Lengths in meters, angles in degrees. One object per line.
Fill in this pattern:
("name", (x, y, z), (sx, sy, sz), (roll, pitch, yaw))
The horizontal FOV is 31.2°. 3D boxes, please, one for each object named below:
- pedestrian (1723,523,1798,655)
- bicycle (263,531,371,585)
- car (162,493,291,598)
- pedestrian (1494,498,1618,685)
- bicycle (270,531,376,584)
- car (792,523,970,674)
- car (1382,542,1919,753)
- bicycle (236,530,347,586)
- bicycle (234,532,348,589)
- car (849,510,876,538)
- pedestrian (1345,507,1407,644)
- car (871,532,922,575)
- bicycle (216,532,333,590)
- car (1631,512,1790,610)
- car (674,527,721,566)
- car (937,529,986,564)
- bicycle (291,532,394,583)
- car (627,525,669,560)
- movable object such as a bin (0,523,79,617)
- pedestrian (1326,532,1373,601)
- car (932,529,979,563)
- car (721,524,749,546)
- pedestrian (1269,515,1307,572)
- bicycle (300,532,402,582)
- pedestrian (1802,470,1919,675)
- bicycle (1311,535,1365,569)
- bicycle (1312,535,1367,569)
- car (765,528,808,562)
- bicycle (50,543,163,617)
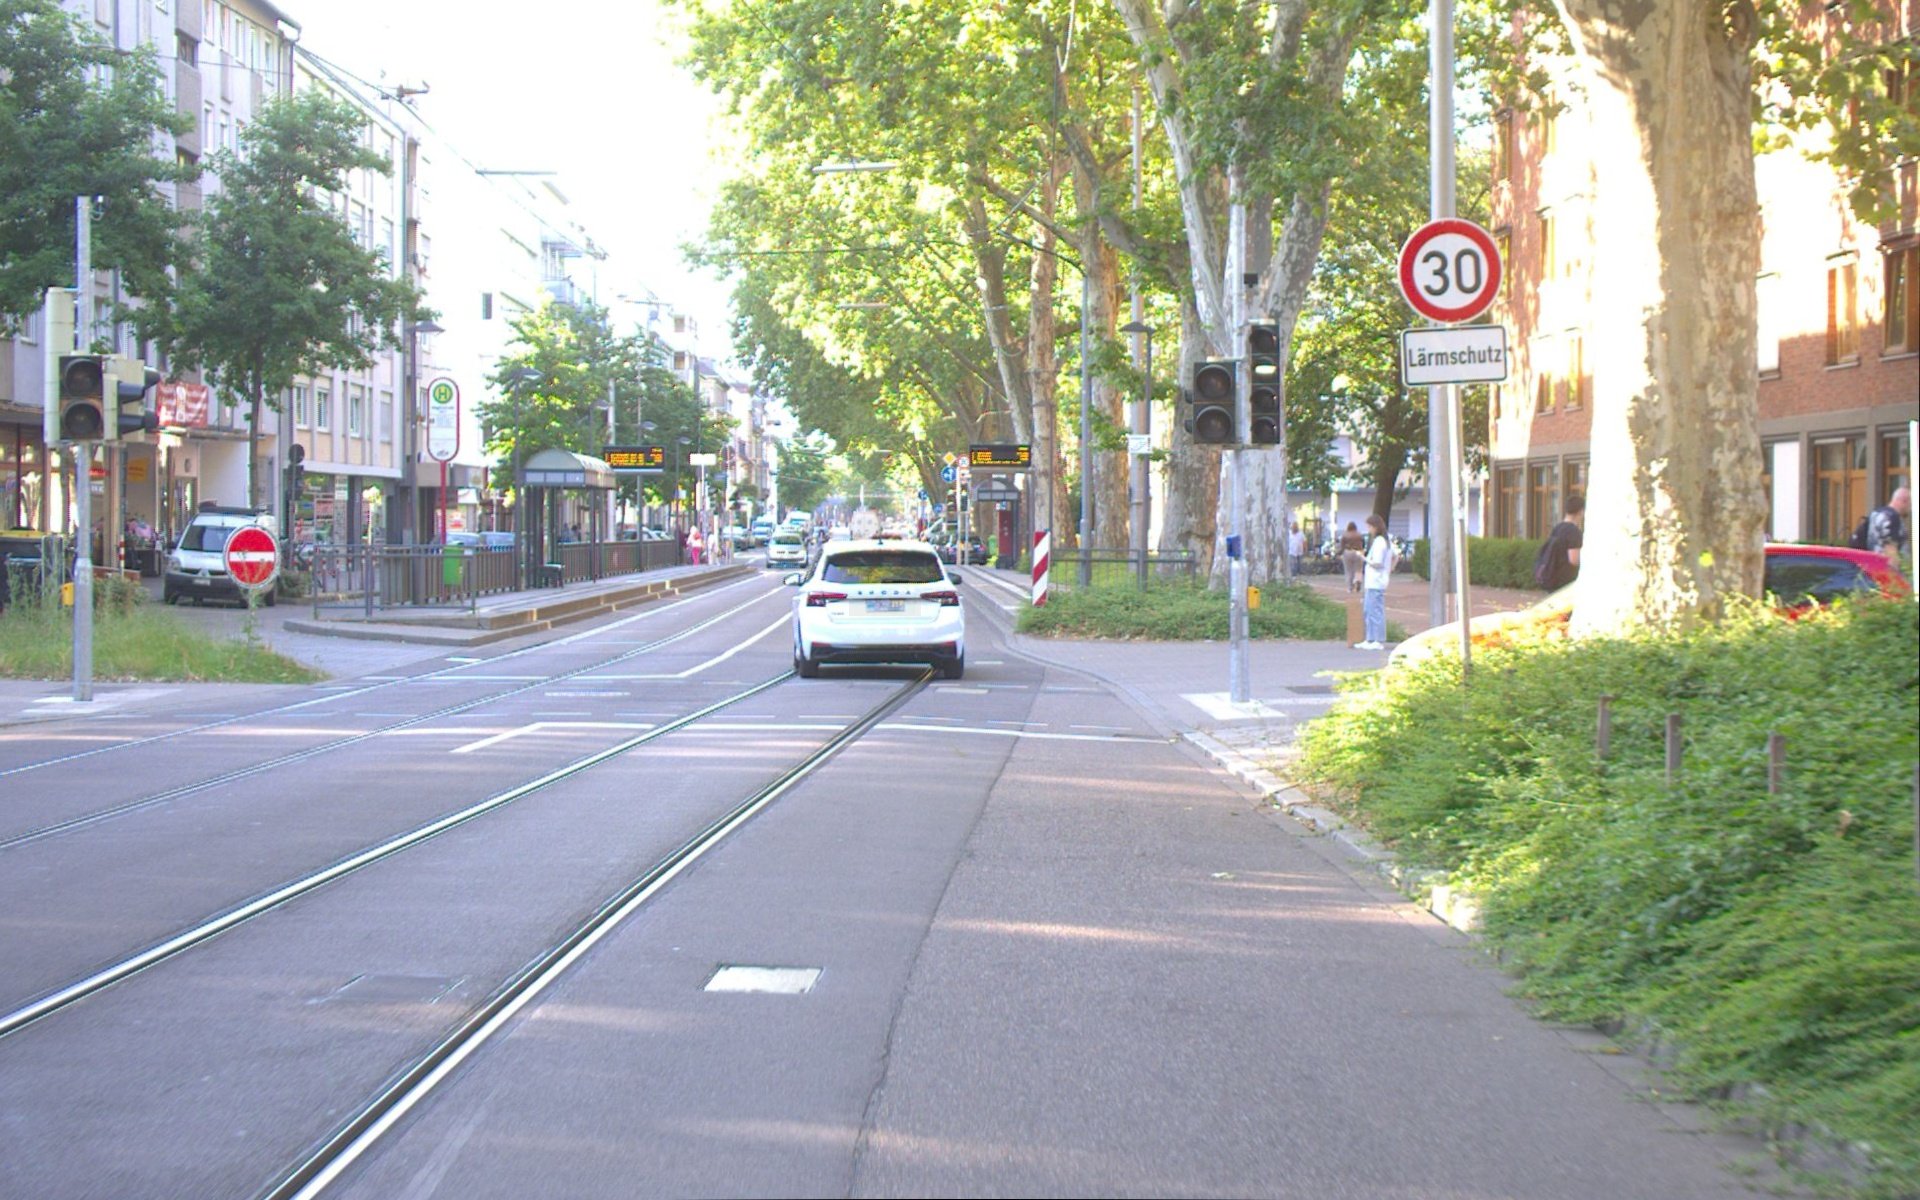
("pedestrian", (10.196, -0.145, 43.789), (0.735, 1.663, 0.835), (0, 1, -2))
("bicycle", (-14.367, -0.936, 76.828), (2.253, 1.070, 0.636), (3, 1, 0))
("car", (-13.950, -1.052, 65.575), (1.688, 1.933, 4.000), (0, 1, -1))
("pedestrian", (5.837, -0.092, 33.692), (0.994, 1.805, 0.864), (0, 1, -6))
("bicycle", (-14.553, -0.972, 78.573), (2.253, 1.070, 0.636), (3, 1, 0))
("car", (-0.832, -0.056, 36.568), (1.788, 1.508, 4.000), (0, 1, -1))
("car", (4.991, 0.311, 24.197), (3.885, 1.418, 1.648), (0, 1, 2))
("bicycle", (-14.536, -0.915, 74.775), (2.253, 1.070, 0.636), (3, 1, 0))
("bicycle", (-14.229, -0.842, 73.133), (2.253, 1.070, 0.636), (3, 1, 0))
("car", (-6.688, -5.210, 235.832), (1.866, 1.886, 4.000), (0, 1, -1))
("pedestrian", (5.101, -0.304, 42.226), (0.652, 1.663, 0.738), (0, 1, -2))
("car", (-2.304, -1.705, 124.447), (1.788, 1.508, 4.000), (0, 1, -1))
("bicycle", (-14.242, -0.822, 71.485), (2.253, 1.070, 0.636), (3, 1, 0))
("car", (11.738, -0.636, 53.942), (1.600, 1.490, 3.417), (0, 1, -2))
("car", (-11.001, -2.268, 144.245), (1.678, 1.543, 4.000), (2, 1, -1))
("car", (0.054, -2.301, 146.838), (1.993, 1.448, 4.000), (0, 1, -1))
("bicycle", (-14.442, -0.994, 80.405), (2.253, 1.070, 0.636), (3, 1, 0))
("car", (-14.914, -2.756, 164.291), (1.678, 1.543, 4.000), (2, 1, -1))
("movable object such as a bin", (-14.091, -0.458, 52.268), (1.169, 1.344, 0.783), (4, 1, -5))
("pedestrian", (9.124, -0.785, 80.592), (0.972, 1.618, 0.888), (0, 1, -1))
("car", (-0.231, -2.403, 151.921), (1.993, 1.448, 4.000), (0, 1, -1))
("car", (-15.676, -4.548, 240.039), (1.788, 1.508, 4.000), (0, 1, -1))
("pedestrian", (9.390, -1.615, 98.352), (0.972, 1.618, 0.888), (0, 1, -1))
("bicycle", (-14.545, -1.031, 82.108), (2.253, 1.070, 0.636), (3, 1, 0))
("pedestrian", (8.626, -0.273, 32.364), (0.982, 1.857, 1.016), (-4, 2, -6))
("bicycle", (11.429, -1.452, 103.983), (1.567, 1.034, 0.479), (1, 1, 20))
("bicycle", (11.578, -1.469, 104.900), (1.567, 1.034, 0.504), (1, 1, 20))
("car", (-7.340, -2.342, 145.384), (1.693, 1.414, 4.000), (0, 1, -1))
("bicycle", (-13.483, -0.326, 54.350), (1.533, 1.071, 0.885), (3, 1, -2))
